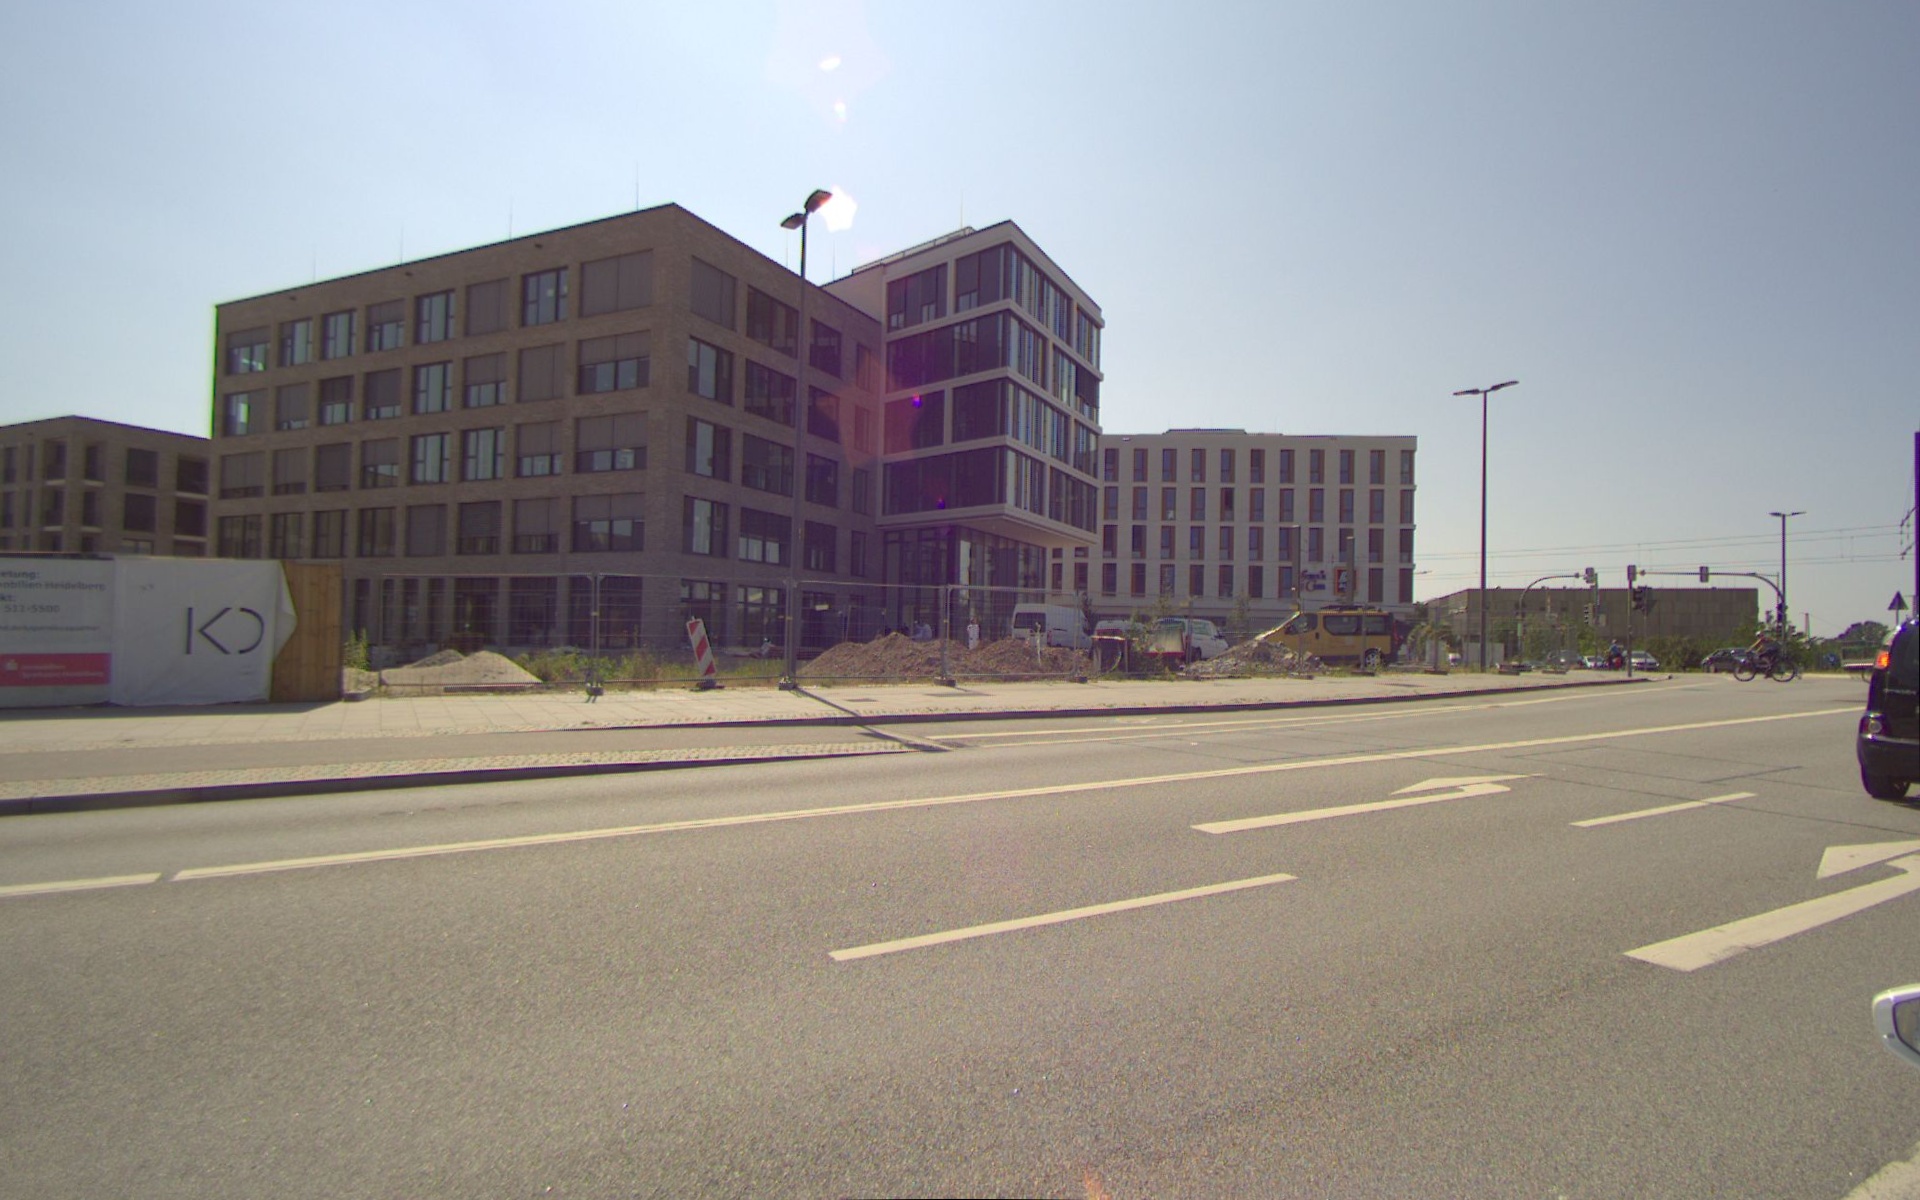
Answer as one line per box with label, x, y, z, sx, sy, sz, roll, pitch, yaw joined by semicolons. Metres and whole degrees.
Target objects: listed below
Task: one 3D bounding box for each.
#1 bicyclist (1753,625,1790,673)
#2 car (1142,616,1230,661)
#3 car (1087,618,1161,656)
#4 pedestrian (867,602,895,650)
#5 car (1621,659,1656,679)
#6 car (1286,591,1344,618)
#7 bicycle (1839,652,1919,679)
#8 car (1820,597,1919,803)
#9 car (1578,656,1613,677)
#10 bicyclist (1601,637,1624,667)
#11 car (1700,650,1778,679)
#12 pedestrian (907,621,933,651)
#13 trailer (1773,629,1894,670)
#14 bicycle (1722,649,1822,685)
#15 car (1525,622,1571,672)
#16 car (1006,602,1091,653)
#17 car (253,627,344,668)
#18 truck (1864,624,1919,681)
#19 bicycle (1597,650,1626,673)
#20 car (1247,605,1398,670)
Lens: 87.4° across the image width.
bicyclist;26.389;1.590;32.668;0.833;1.522;0.654;2;0;-29
car;9.551;1.597;42.141;1.969;1.730;4.546;2;0;35
car;7.177;1.584;43.758;1.773;1.528;3.991;2;0;31
pedestrian;-3.407;1.110;43.281;0.949;2.040;0.940;2;0;-17
car;48.098;4.909;71.204;1.253;1.257;2.486;1;-1;14
car;28.949;0.379;81.925;1.986;2.040;3.949;2;0;-43
bicycle;28.209;1.980;30.516;0.509;0.701;2.236;2;-1;-29
car;9.465;0.868;8.805;3.872;1.643;1.794;2;-1;-31
car;51.993;5.416;82.203;1.554;1.458;3.155;2;0;17
bicyclist;35.022;2.785;53.943;0.807;1.524;0.721;2;0;15
car;45.243;3.743;58.422;1.633;1.408;3.788;2;0;1
pedestrian;-1.967;1.763;49.418;1.099;1.391;0.742;2;0;-17
trailer;44.473;2.486;51.267;1.966;1.799;4.274;2;0;-14
bicycle;26.372;2.159;32.684;0.598;1.020;2.493;2;-1;-29
car;26.012;2.053;44.409;1.646;2.040;3.992;2;0;31
car;4.003;1.205;44.747;2.175;2.083;4.164;2;0;30
car;-30.442;2.152;46.210;3.708;1.675;1.834;2;0;26
truck;45.540;2.491;46.873;1.966;2.574;4.696;2;-1;-14
bicycle;34.979;3.294;53.978;0.624;1.148;2.327;1;-1;16
car;12.071;1.232;33.731;4.395;1.915;2.001;2;0;8
